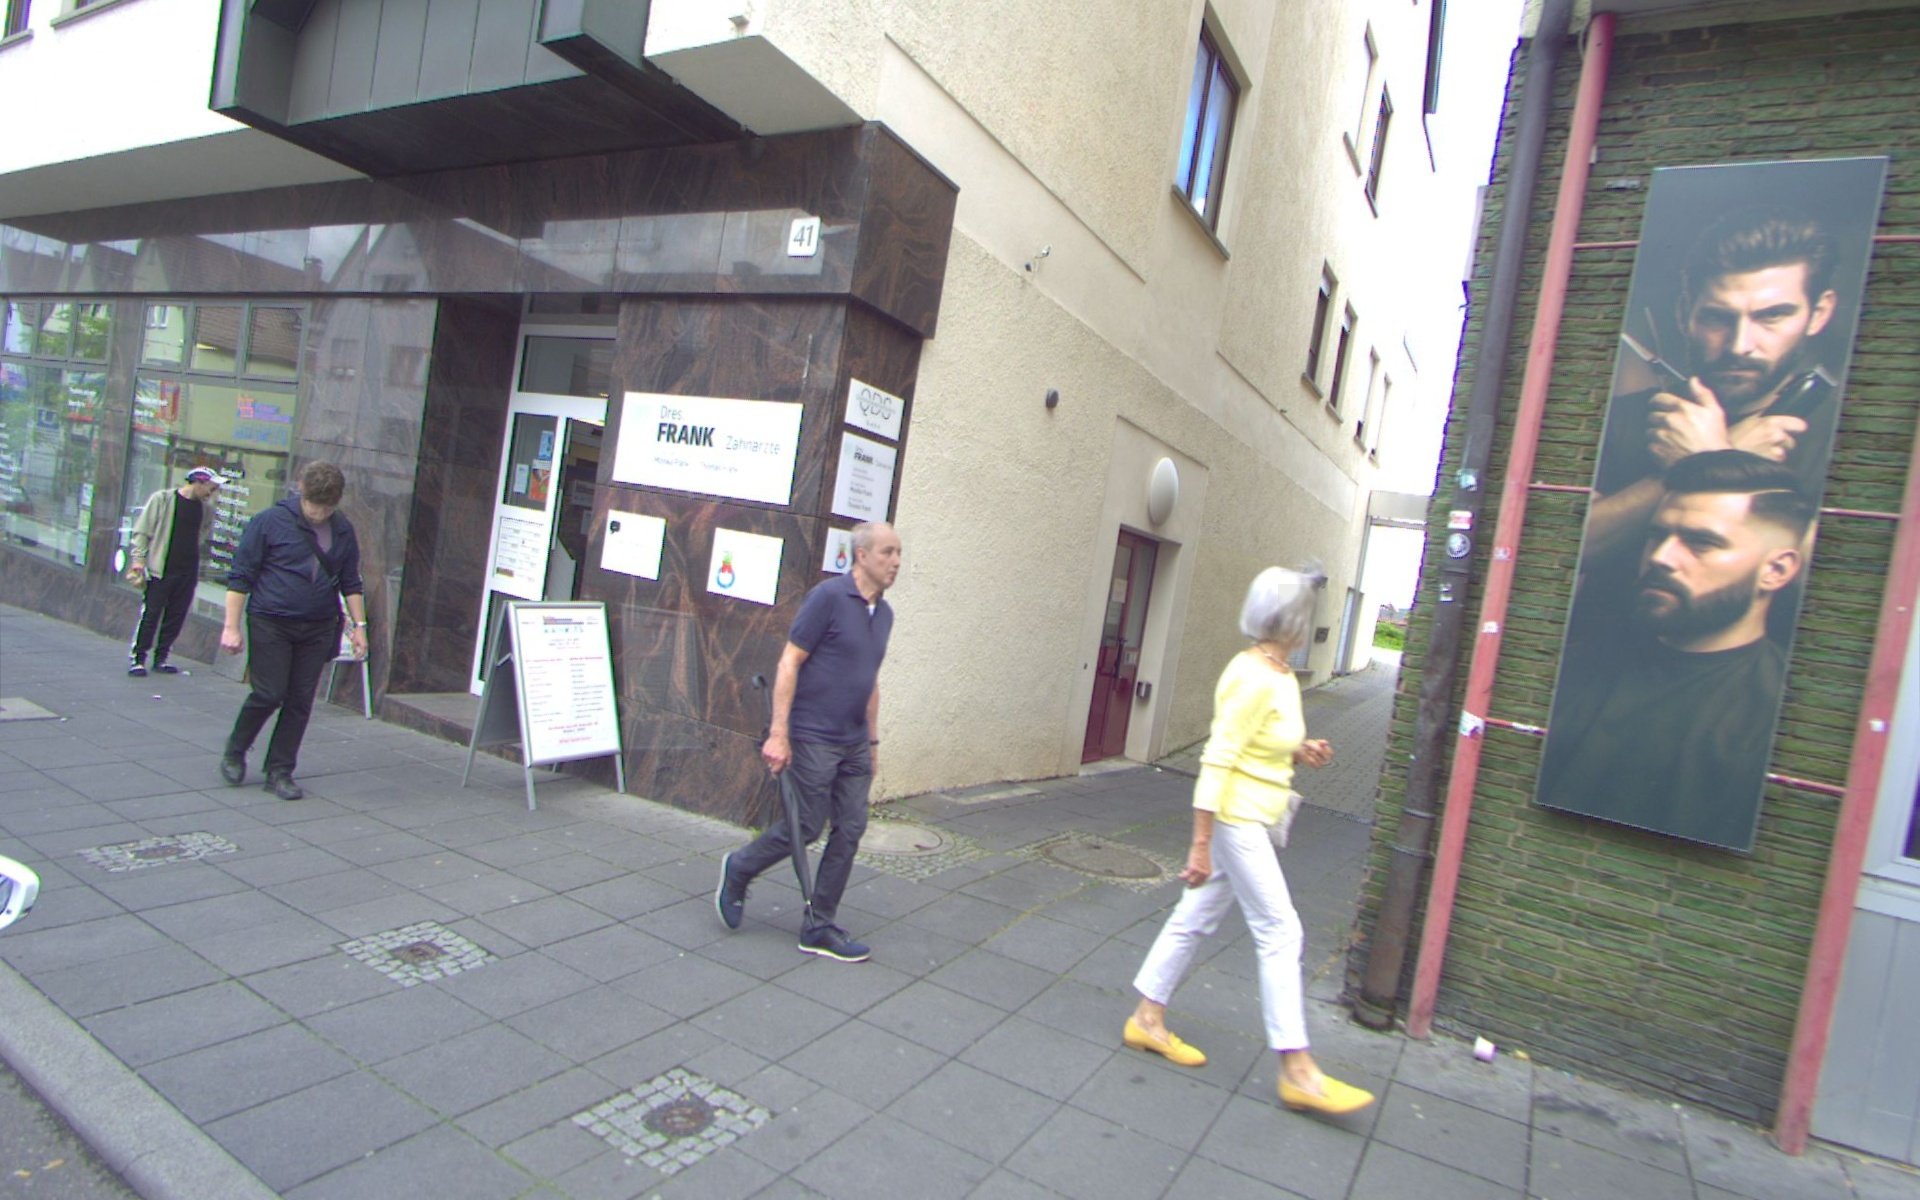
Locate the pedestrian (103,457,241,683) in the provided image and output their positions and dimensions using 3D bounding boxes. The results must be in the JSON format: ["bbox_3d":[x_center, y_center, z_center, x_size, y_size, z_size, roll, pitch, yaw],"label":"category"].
[{"bbox_3d":[-6.371,-0.241,8.142,0.533,1.713,0.663,7,4,25],"label":"pedestrian"}]

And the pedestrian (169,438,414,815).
[{"bbox_3d":[-3.484,0.113,5.255,0.774,1.777,0.711,7,3,31],"label":"pedestrian"}]

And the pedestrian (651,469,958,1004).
[{"bbox_3d":[-0.590,0.443,3.846,0.772,1.778,0.710,8,5,31],"label":"pedestrian"}]

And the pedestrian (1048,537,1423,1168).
[{"bbox_3d":[0.886,0.684,3.200,0.821,1.653,0.711,7,3,31],"label":"pedestrian"}]
